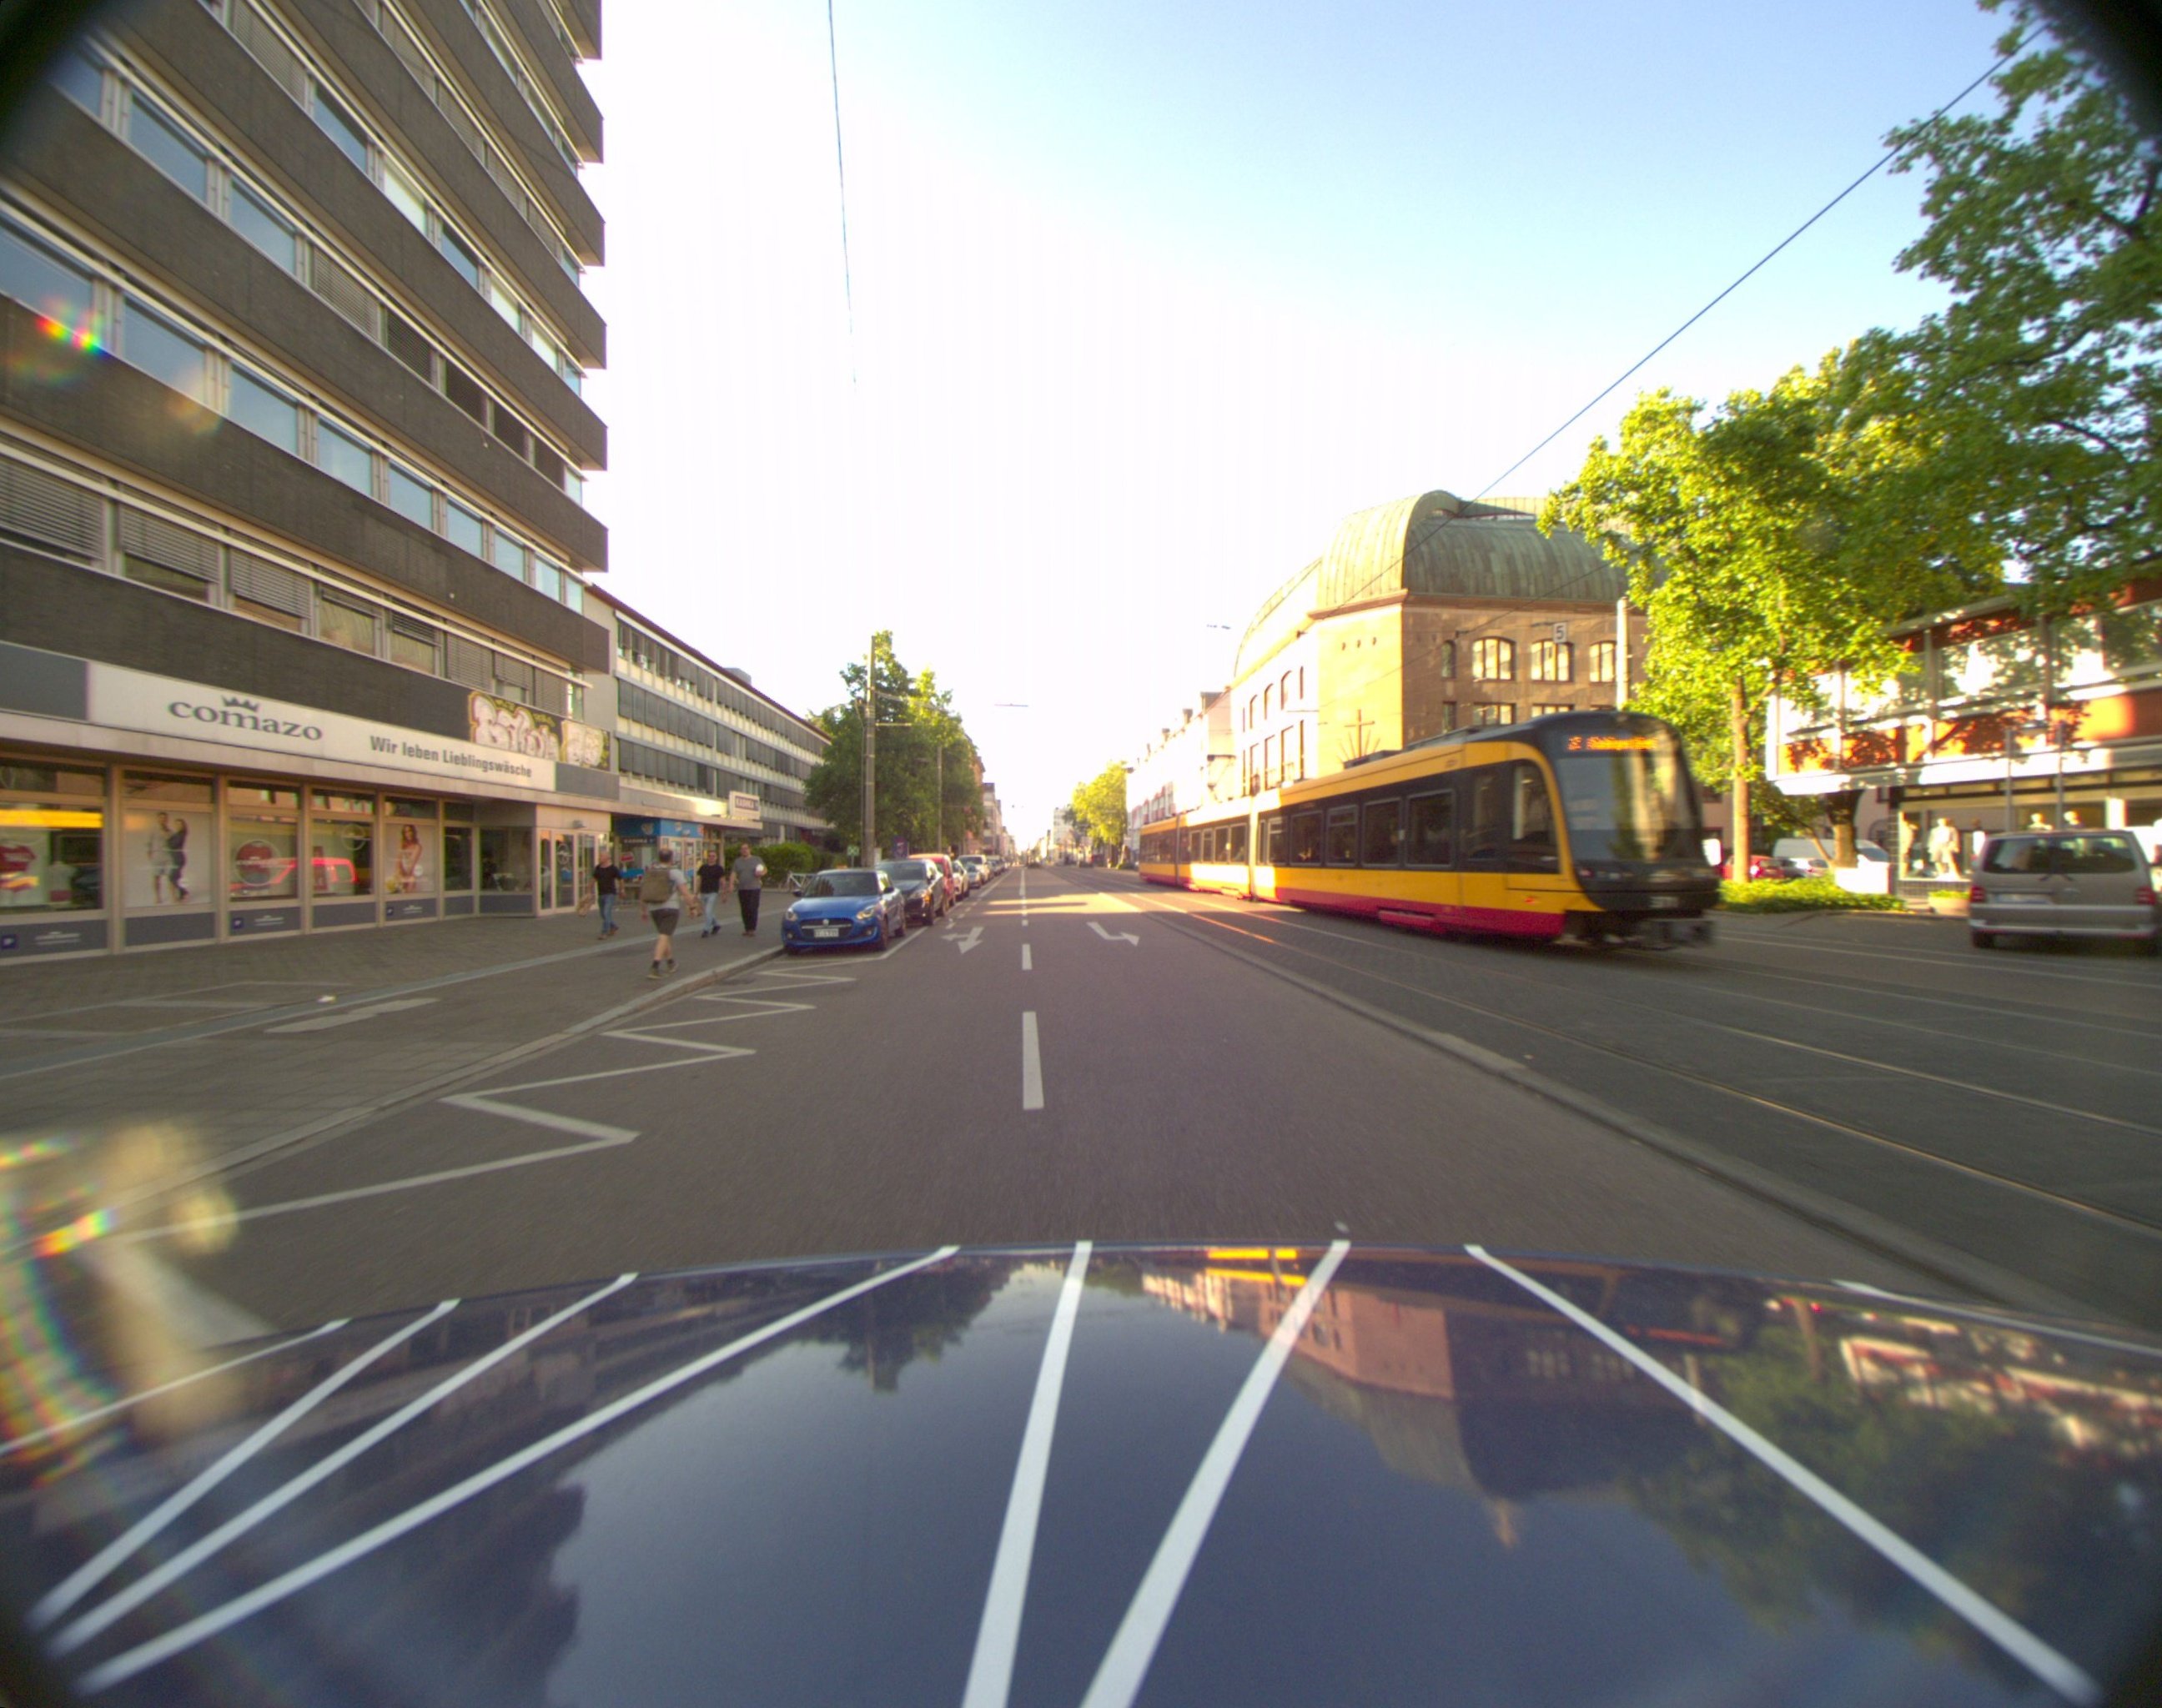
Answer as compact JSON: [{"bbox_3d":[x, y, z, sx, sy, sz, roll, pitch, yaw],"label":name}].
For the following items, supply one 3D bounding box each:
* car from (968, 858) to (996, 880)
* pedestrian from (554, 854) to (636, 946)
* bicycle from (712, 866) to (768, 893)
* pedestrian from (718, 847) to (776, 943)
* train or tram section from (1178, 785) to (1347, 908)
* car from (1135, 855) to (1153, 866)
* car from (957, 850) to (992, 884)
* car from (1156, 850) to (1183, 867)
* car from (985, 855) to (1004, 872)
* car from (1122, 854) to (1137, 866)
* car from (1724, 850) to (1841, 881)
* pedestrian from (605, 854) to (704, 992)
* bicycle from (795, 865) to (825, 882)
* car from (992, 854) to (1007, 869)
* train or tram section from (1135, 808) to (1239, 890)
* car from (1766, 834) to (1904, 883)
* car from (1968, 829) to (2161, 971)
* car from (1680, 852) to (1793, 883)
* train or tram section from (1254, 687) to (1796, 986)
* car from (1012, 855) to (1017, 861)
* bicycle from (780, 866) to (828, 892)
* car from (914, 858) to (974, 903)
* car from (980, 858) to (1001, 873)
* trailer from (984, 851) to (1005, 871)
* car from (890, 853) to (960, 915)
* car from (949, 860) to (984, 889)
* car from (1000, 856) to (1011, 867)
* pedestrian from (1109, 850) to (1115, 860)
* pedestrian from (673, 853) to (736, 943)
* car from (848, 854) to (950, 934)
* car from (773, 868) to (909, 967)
[{"bbox_3d":[-7.211,1.061,55.464,1.688,1.484,3.909,-2,1,-3],"label":"car"},{"bbox_3d":[-9.383,0.864,14.716,0.903,1.703,1.032,2,0,-5],"label":"pedestrian"},{"bbox_3d":[-14.253,1.063,31.787,2.021,1.089,0.637,1,0,-11],"label":"bicycle"},{"bbox_3d":[-6.779,0.809,15.465,0.796,1.888,1.032,0,0,-5],"label":"pedestrian"},{"bbox_3d":[5.952,-0.224,27.452,2.683,3.530,11.121,0,0,-4],"label":"train or tram section"},{"bbox_3d":[8.524,0.847,103.201,1.829,1.500,4.559,-2,0,-4],"label":"car"},{"bbox_3d":[-6.865,0.803,49.476,1.882,2.009,4.903,-2,0,-4],"label":"car"},{"bbox_3d":[9.707,0.490,83.946,1.965,1.690,4.558,-2,0,-6],"label":"car"},{"bbox_3d":[-8.928,0.957,78.967,1.785,1.735,4.472,-2,0,-5],"label":"car"},{"bbox_3d":[7.575,0.897,118.883,1.932,1.787,4.383,0,0,-1],"label":"car"},{"bbox_3d":[38.152,0.592,41.484,1.856,1.564,4.527,0,0,-8],"label":"car"},{"bbox_3d":[-5.623,0.873,10.076,0.789,1.727,0.945,0,0,-5],"label":"pedestrian"},{"bbox_3d":[-15.616,1.134,43.820,1.623,0.954,0.367,0,1,-33],"label":"bicycle"},{"bbox_3d":[-10.129,0.925,94.639,1.697,1.832,4.693,-2,1,-5],"label":"car"},{"bbox_3d":[5.048,-0.235,39.257,2.766,3.530,12.461,0,0,-4],"label":"train or tram section"},{"bbox_3d":[41.338,0.223,41.899,1.856,2.528,5.411,0,0,-7],"label":"car"},{"bbox_3d":[16.879,0.606,12.955,5.130,1.918,1.849,-3,2,-36],"label":"car"},{"bbox_3d":[35.465,0.688,41.305,1.856,1.564,4.527,0,0,-8],"label":"car"},{"bbox_3d":[6.790,-0.231,15.467,2.683,3.530,12.835,0,0,-4],"label":"train or tram section"},{"bbox_3d":[-18.262,1.134,207.955,1.420,1.612,3.625,-2,0,-5],"label":"car"},{"bbox_3d":[-12.076,1.095,33.148,1.887,1.090,0.469,0,1,-6],"label":"bicycle"},{"bbox_3d":[-5.449,1.011,30.688,1.792,1.586,4.325,-2,0,-3],"label":"car"},{"bbox_3d":[-8.598,1.077,72.621,1.784,1.420,4.210,-1,0,-5],"label":"car"},{"bbox_3d":[-9.478,0.760,83.821,1.784,2.136,5.314,-1,0,-2],"label":"trailer"},{"bbox_3d":[-4.962,0.894,24.630,1.680,1.797,4.246,-2,0,-5],"label":"car"},{"bbox_3d":[-6.392,1.122,42.875,1.679,1.396,4.164,-2,1,-6],"label":"car"},{"bbox_3d":[-10.606,1.059,106.284,1.420,1.425,3.870,-2,0,-5],"label":"car"},{"bbox_3d":[5.622,0.164,138.594,1.096,1.768,1.252,0,0,0],"label":"pedestrian"},{"bbox_3d":[-7.600,0.865,15.396,0.813,1.746,1.032,0,0,-5],"label":"pedestrian"},{"bbox_3d":[-4.586,0.913,19.773,1.826,1.747,4.472,-2,1,-4],"label":"car"},{"bbox_3d":[-4.402,1.089,14.483,1.642,1.484,3.793,-3,0,-5],"label":"car"}]
